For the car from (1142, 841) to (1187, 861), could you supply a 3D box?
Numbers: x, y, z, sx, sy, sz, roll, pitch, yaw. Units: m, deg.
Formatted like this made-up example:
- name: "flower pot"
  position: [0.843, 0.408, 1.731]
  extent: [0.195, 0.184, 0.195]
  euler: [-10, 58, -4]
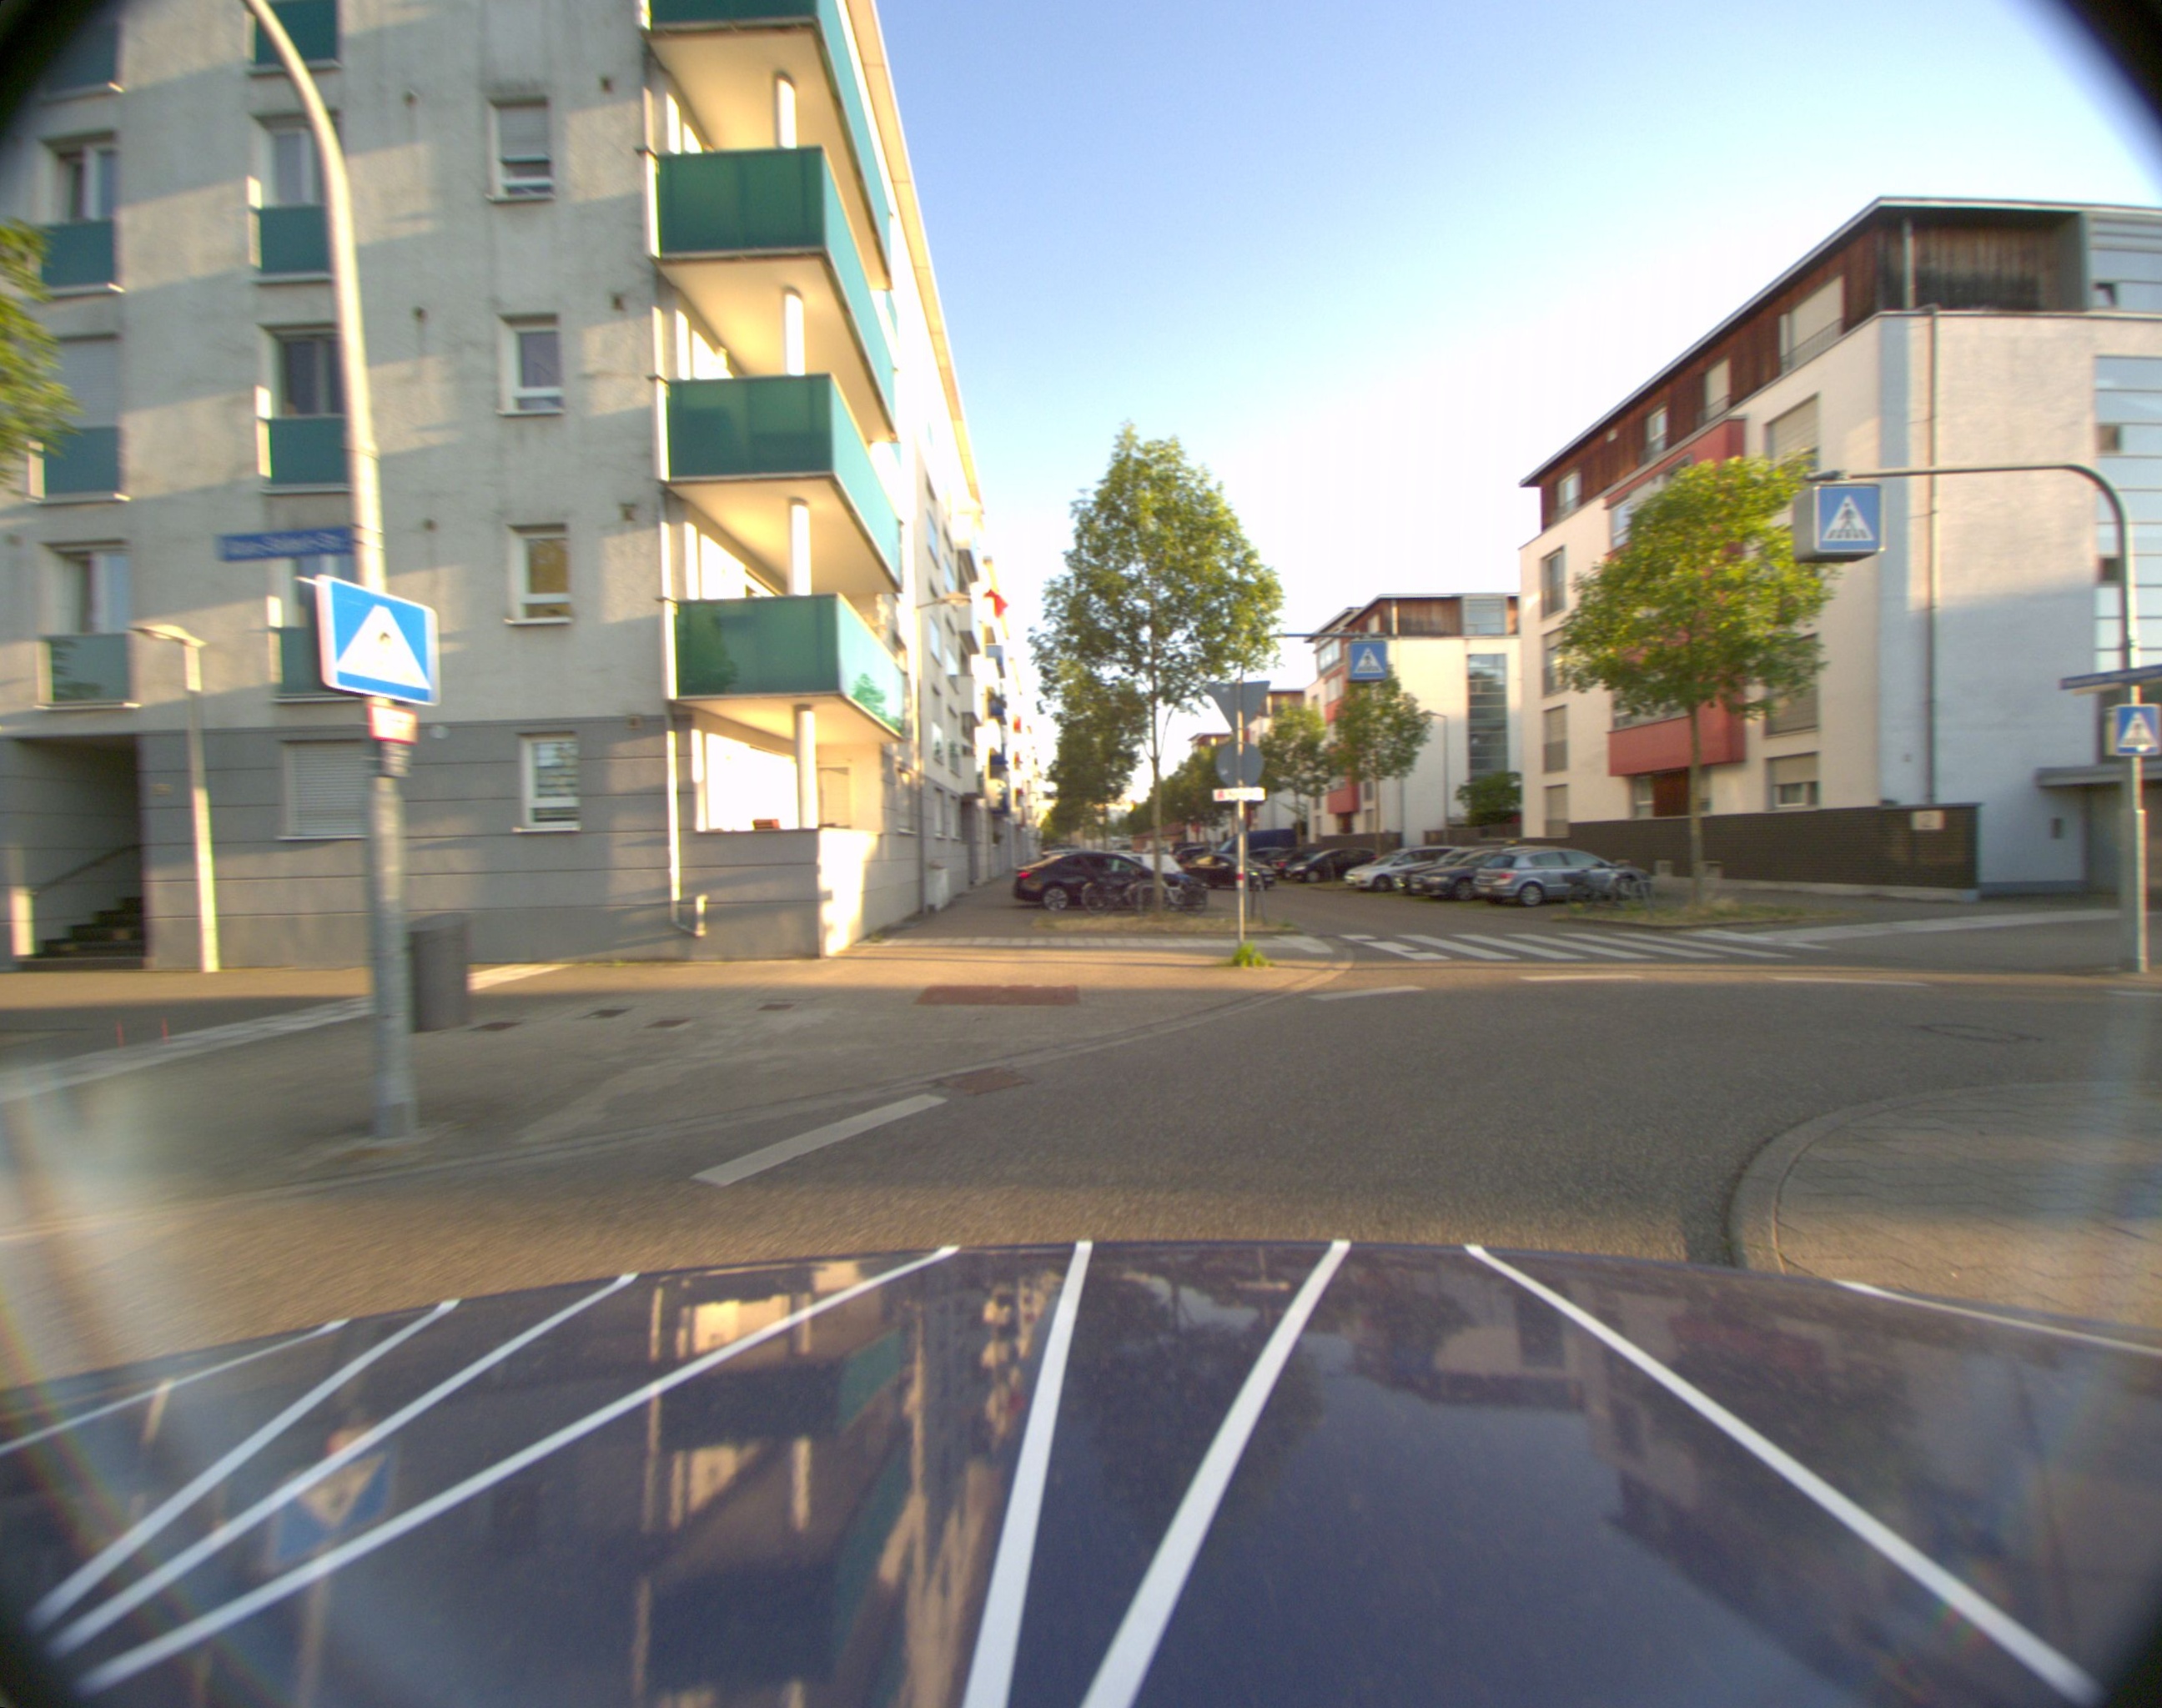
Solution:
- name: "car"
  position: [8.483, -0.322, 77.391]
  extent: [4.252, 1.991, 1.692]
  euler: [1, 1, -3]

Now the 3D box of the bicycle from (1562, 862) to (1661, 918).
- name: "bicycle"
  position: [11.808, 0.789, 16.927]
  extent: [1.822, 1.060, 0.567]
  euler: [-5, 1, -4]

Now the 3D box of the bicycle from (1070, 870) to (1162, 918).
- name: "bicycle"
  position: [0.786, 0.909, 17.258]
  extent: [2.035, 1.040, 0.473]
  euler: [1, 0, -6]

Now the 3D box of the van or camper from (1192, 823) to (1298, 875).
- name: "van or camper"
  position: [10.791, -0.337, 50.243]
  extent: [6.316, 3.069, 2.441]
  euler: [-2, 1, -6]

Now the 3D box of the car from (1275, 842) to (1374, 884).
- name: "car"
  position: [11.098, 0.374, 34.726]
  extent: [3.920, 1.700, 1.723]
  euler: [-2, 1, -6]

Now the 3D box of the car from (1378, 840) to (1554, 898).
- name: "car"
  position: [12.422, 0.461, 24.749]
  extent: [4.784, 1.546, 1.711]
  euler: [-3, 1, 2]

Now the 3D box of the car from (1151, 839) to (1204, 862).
- name: "car"
  position: [8.325, -0.318, 65.628]
  extent: [4.252, 1.919, 1.692]
  euler: [1, 1, -3]

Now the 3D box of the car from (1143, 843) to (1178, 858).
- name: "car"
  position: [10.219, -0.486, 97.438]
  extent: [4.251, 1.776, 1.692]
  euler: [1, 1, -1]

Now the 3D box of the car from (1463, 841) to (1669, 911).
- name: "car"
  position: [12.500, 0.538, 19.731]
  extent: [4.292, 1.449, 1.680]
  euler: [-4, 1, -4]

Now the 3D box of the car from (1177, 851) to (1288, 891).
- name: "car"
  position: [6.110, 0.656, 30.994]
  extent: [1.782, 1.454, 4.166]
  euler: [1, 1, -42]

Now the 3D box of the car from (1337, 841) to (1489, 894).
- name: "car"
  position: [11.967, 0.465, 27.525]
  extent: [4.761, 1.576, 1.757]
  euler: [-3, 1, -6]

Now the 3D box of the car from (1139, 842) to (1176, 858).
- name: "car"
  position: [9.302, -0.509, 92.276]
  extent: [4.251, 1.776, 1.692]
  euler: [1, 1, -1]

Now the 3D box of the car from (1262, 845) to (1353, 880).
- name: "car"
  position: [11.126, 0.411, 37.479]
  extent: [3.920, 1.507, 1.723]
  euler: [-2, 1, -6]

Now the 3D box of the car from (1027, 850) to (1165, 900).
- name: "car"
  position: [0.427, 0.664, 24.566]
  extent: [4.294, 1.485, 1.742]
  euler: [1, 1, -3]

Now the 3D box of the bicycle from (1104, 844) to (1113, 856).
- name: "bicycle"
  position: [3.137, -0.442, 86.868]
  extent: [0.772, 1.259, 1.781]
  euler: [-2, 0, -3]

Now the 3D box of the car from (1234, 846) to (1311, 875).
- name: "car"
  position: [11.358, 0.363, 45.196]
  extent: [4.103, 1.616, 1.723]
  euler: [1, 1, -6]

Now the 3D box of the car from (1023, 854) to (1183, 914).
- name: "car"
  position: [0.628, 0.839, 21.958]
  extent: [4.412, 1.499, 1.742]
  euler: [-2, 0, 1]

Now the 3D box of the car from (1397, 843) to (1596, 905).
- name: "car"
  position: [12.087, 0.549, 22.272]
  extent: [4.916, 1.470, 1.710]
  euler: [-3, 1, -4]

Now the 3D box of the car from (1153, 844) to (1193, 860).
- name: "car"
  position: [10.288, -0.220, 85.154]
  extent: [4.252, 1.776, 1.692]
  euler: [1, 1, -3]

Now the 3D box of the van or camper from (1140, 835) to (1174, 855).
- name: "van or camper"
  position: [10.229, -1.197, 102.386]
  extent: [4.252, 2.520, 1.760]
  euler: [1, 1, -1]

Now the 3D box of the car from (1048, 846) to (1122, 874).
- name: "car"
  position: [0.218, 0.340, 44.059]
  extent: [4.103, 1.500, 1.665]
  euler: [1, 1, -6]

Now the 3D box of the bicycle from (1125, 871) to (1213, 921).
- name: "bicycle"
  position: [1.939, 0.926, 16.815]
  extent: [1.840, 1.066, 0.473]
  euler: [1, 0, -6]

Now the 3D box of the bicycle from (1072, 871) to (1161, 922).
- name: "bicycle"
  position: [0.738, 0.891, 16.109]
  extent: [1.793, 1.036, 0.567]
  euler: [1, 0, -6]

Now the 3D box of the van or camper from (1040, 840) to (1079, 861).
- name: "van or camper"
  position: [-2.428, -0.354, 84.355]
  extent: [4.252, 2.198, 1.692]
  euler: [1, 1, -3]

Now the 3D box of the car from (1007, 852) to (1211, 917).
- name: "car"
  position: [0.672, 0.735, 19.301]
  extent: [4.887, 1.449, 1.937]
  euler: [1, 1, 0]

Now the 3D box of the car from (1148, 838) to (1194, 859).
- name: "car"
  position: [8.927, -0.555, 75.210]
  extent: [4.252, 1.919, 1.692]
  euler: [1, 1, -3]

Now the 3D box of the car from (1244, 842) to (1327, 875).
- name: "car"
  position: [11.362, 0.223, 42.353]
  extent: [4.103, 1.616, 1.723]
  euler: [-2, 1, -6]

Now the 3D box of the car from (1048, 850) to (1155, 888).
- name: "car"
  position: [0.806, 0.609, 31.992]
  extent: [4.295, 1.499, 1.685]
  euler: [1, 1, -5]
